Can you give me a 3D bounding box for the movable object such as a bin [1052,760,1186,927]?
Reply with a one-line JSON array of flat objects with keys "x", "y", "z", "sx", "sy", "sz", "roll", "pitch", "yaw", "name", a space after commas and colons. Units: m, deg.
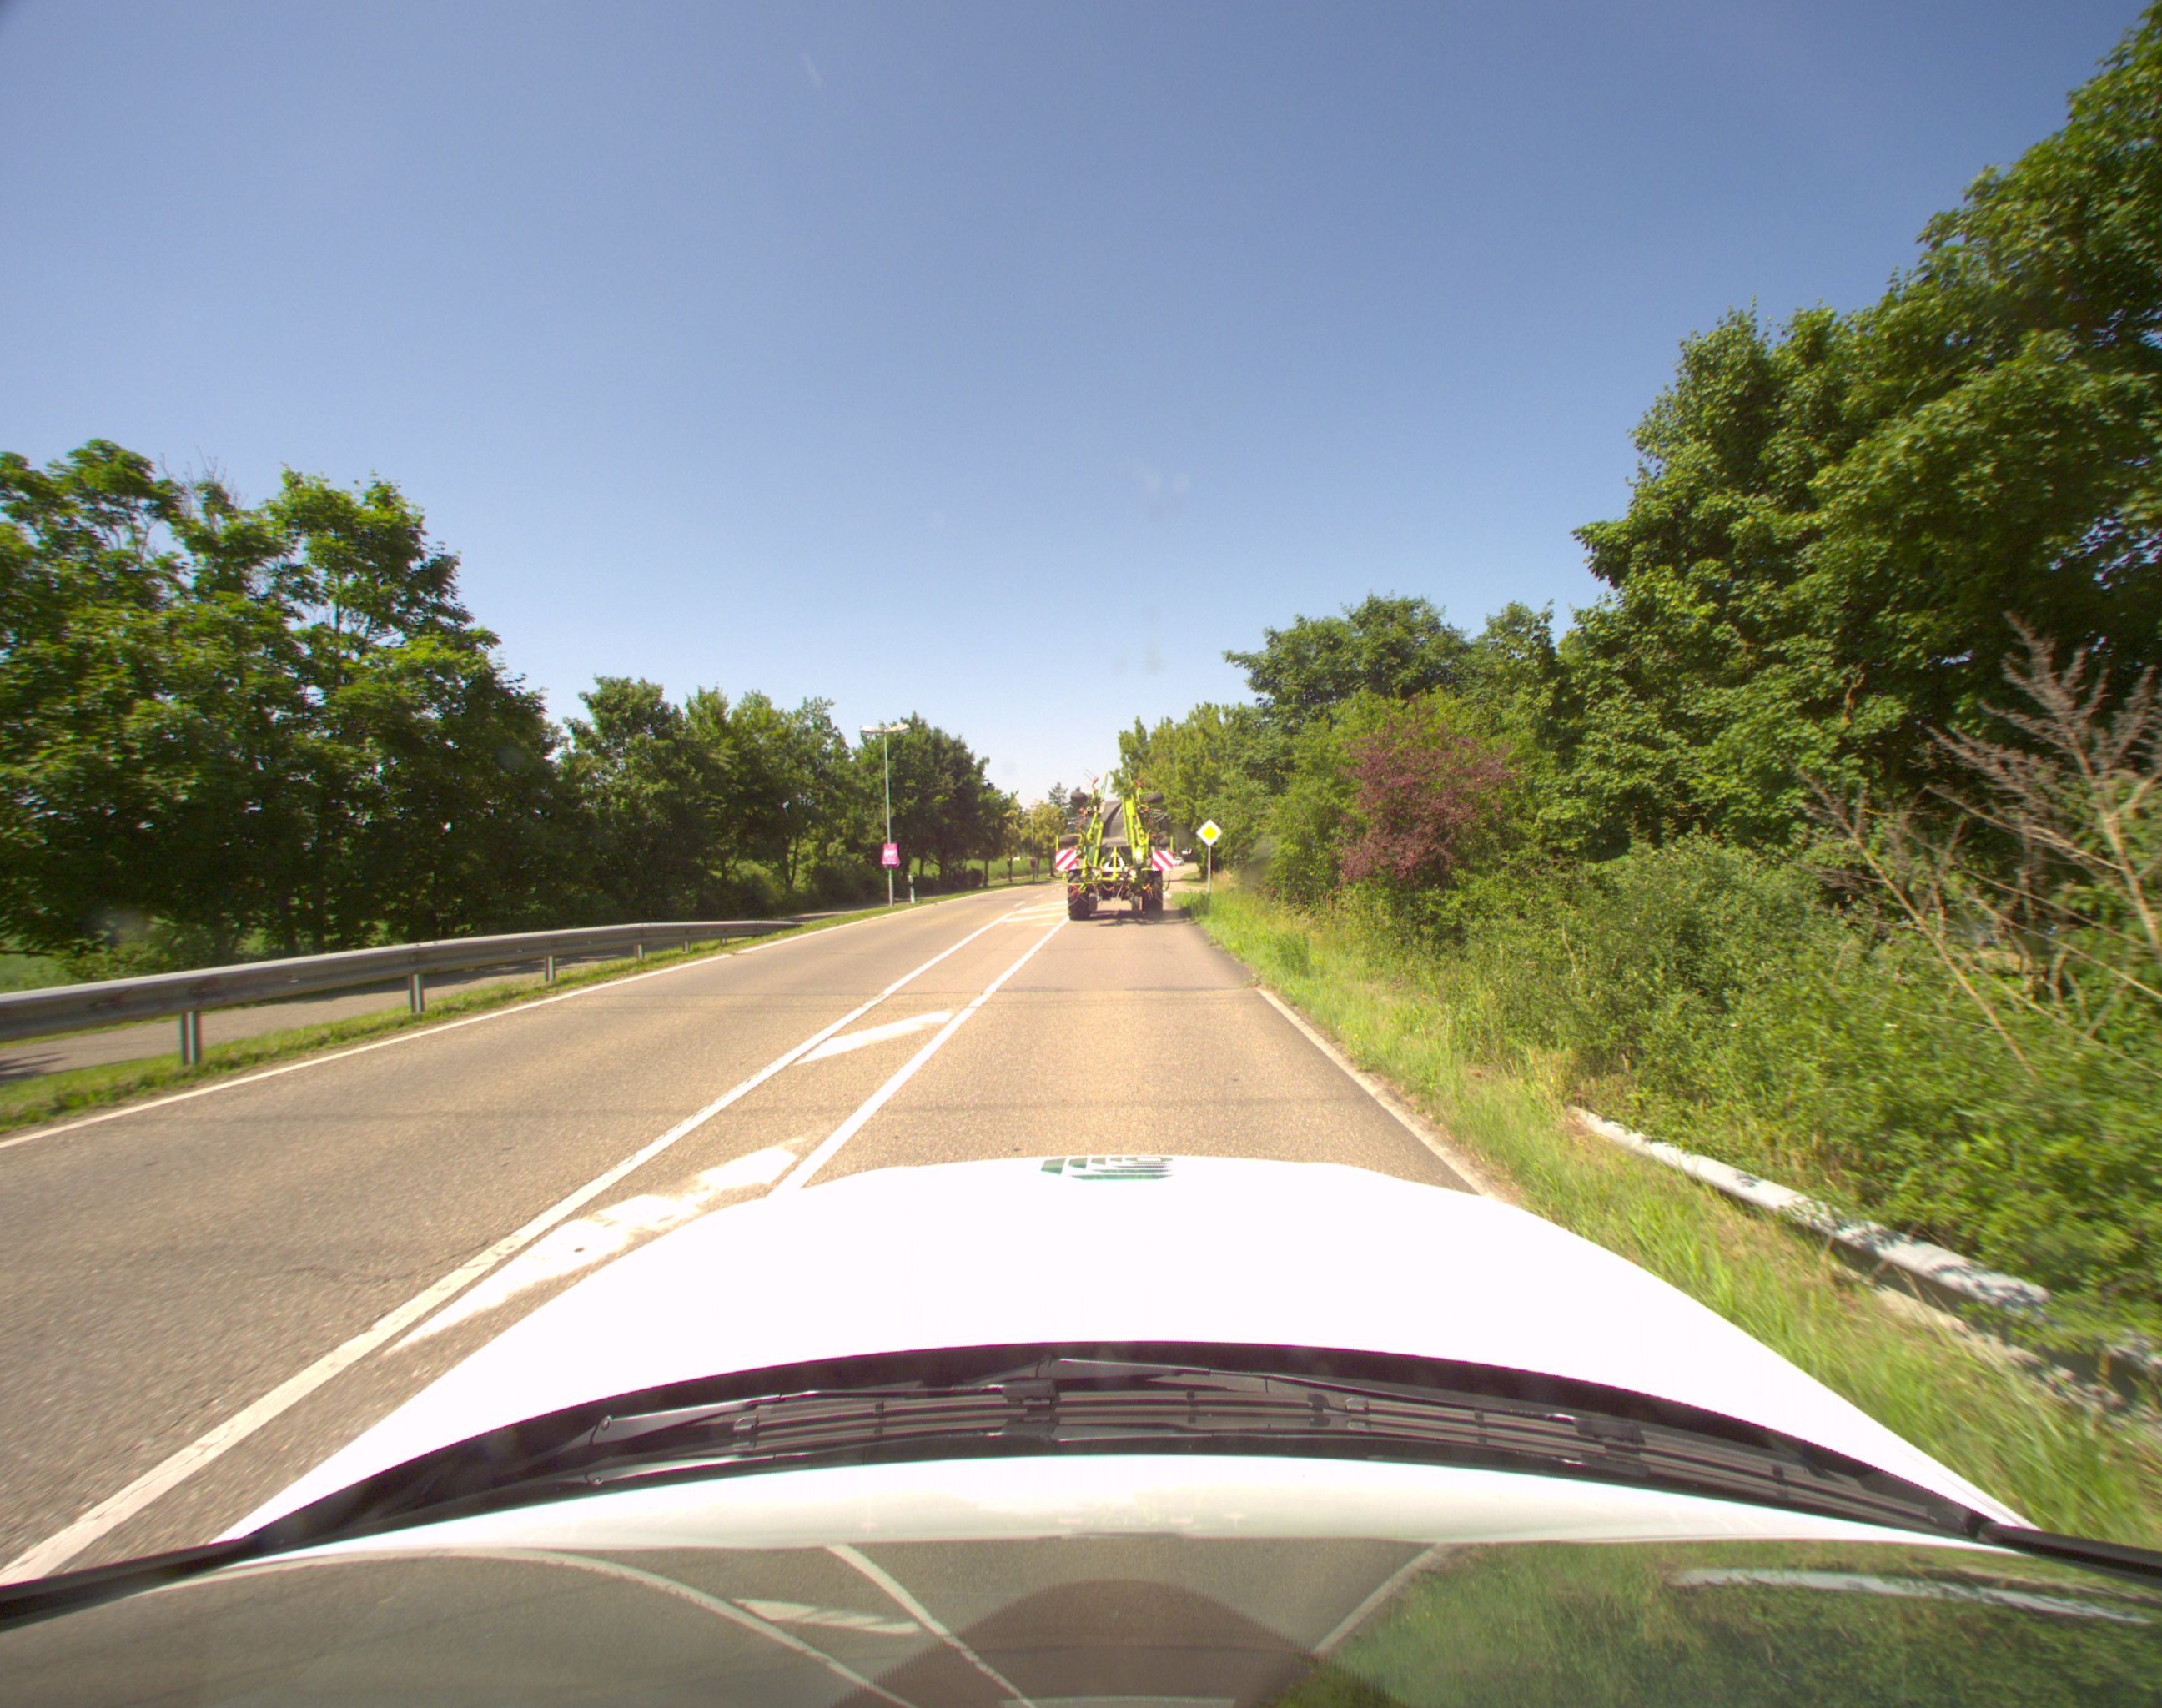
[{"x": 0.972, "y": -0.235, "z": 22.237, "sx": 2.842, "sy": 3.541, "sz": 9.705, "roll": 0, "pitch": 0, "yaw": 2, "name": "movable object such as a bin"}]
